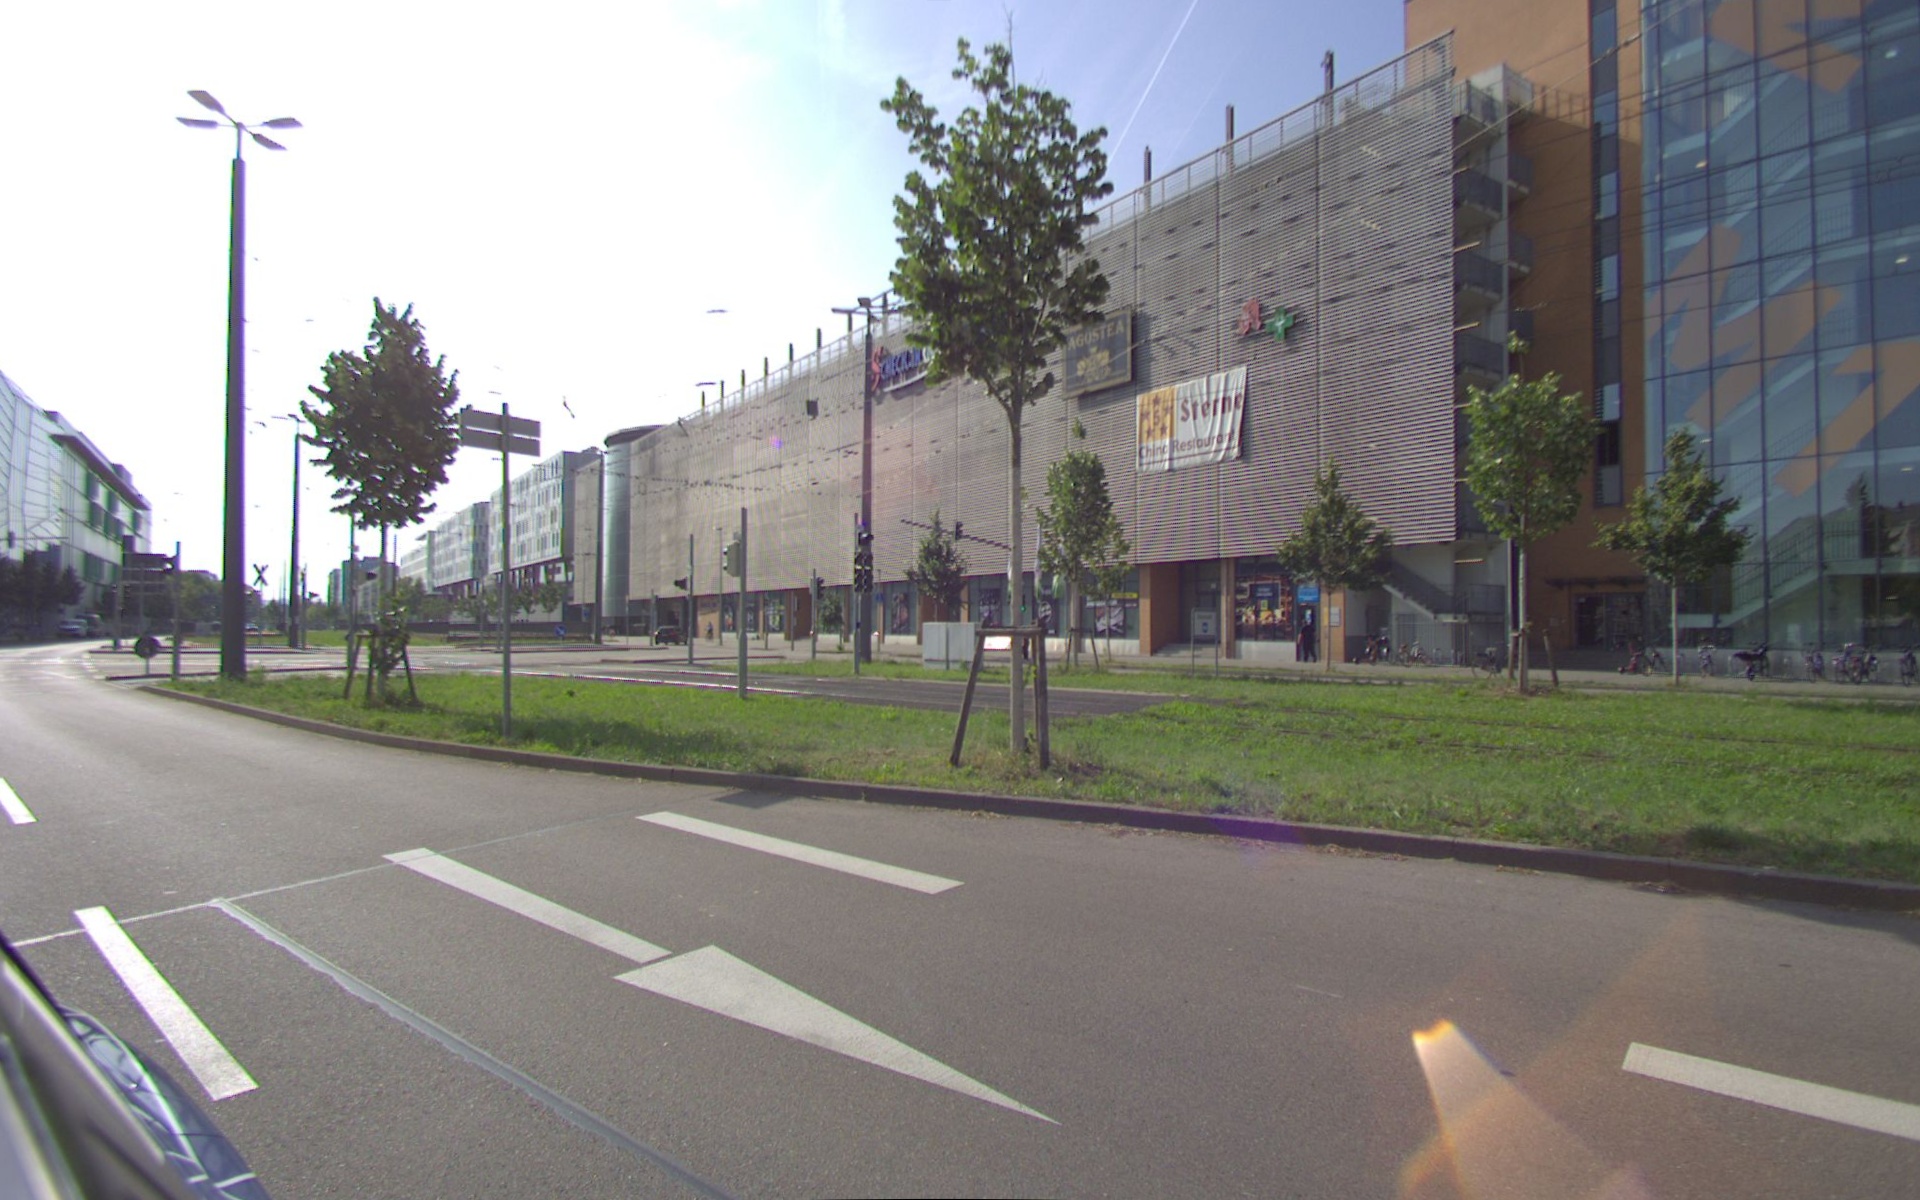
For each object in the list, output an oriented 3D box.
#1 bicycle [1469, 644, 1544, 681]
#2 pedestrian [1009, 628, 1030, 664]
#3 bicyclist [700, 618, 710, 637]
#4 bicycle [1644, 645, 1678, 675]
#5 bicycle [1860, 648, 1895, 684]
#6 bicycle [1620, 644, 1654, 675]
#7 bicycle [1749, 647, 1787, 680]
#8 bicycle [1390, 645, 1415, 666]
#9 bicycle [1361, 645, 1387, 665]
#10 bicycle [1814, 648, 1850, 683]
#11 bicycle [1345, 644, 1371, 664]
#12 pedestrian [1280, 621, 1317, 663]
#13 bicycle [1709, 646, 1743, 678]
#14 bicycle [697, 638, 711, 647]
[{"bbox_3d":[16.847,1.914,31.249,0.438,0.995,2.171,2,-1,-26],"label":"bicycle"},{"bbox_3d":[2.703,2.083,45.757,0.751,1.591,0.591,2,-2,-39],"label":"pedestrian"},{"bbox_3d":[-22.359,2.388,88.605,0.559,1.642,0.716,2,-1,-37],"label":"bicyclist"},{"bbox_3d":[22.590,1.920,32.616,1.558,0.947,0.412,1,-2,-36],"label":"bicycle"},{"bbox_3d":[25.789,1.843,28.429,1.558,0.947,0.412,1,-2,-36],"label":"bicycle"},{"bbox_3d":[22.165,1.936,33.112,1.558,0.947,0.412,1,-2,-36],"label":"bicycle"},{"bbox_3d":[24.139,1.888,30.227,1.558,0.947,0.474,1,-2,-36],"label":"bicycle"},{"bbox_3d":[16.642,2.095,38.029,1.007,0.758,0.362,1,-2,-34],"label":"bicycle"},{"bbox_3d":[15.975,2.113,39.020,0.989,0.758,0.453,1,-2,-34],"label":"bicycle"},{"bbox_3d":[25.170,1.879,29.205,1.558,0.947,0.412,1,-2,-36],"label":"bicycle"},{"bbox_3d":[15.568,2.111,39.556,0.989,0.758,0.453,1,-2,-34],"label":"bicycle"},{"bbox_3d":[13.992,1.732,41.861,0.806,1.732,1.179,1,-2,-35],"label":"pedestrian"},{"bbox_3d":[23.614,1.897,31.193,1.558,0.947,0.412,1,-2,-36],"label":"bicycle"},{"bbox_3d":[-22.394,3.712,88.587,0.573,0.785,1.873,1,-2,-35],"label":"bicycle"}]
